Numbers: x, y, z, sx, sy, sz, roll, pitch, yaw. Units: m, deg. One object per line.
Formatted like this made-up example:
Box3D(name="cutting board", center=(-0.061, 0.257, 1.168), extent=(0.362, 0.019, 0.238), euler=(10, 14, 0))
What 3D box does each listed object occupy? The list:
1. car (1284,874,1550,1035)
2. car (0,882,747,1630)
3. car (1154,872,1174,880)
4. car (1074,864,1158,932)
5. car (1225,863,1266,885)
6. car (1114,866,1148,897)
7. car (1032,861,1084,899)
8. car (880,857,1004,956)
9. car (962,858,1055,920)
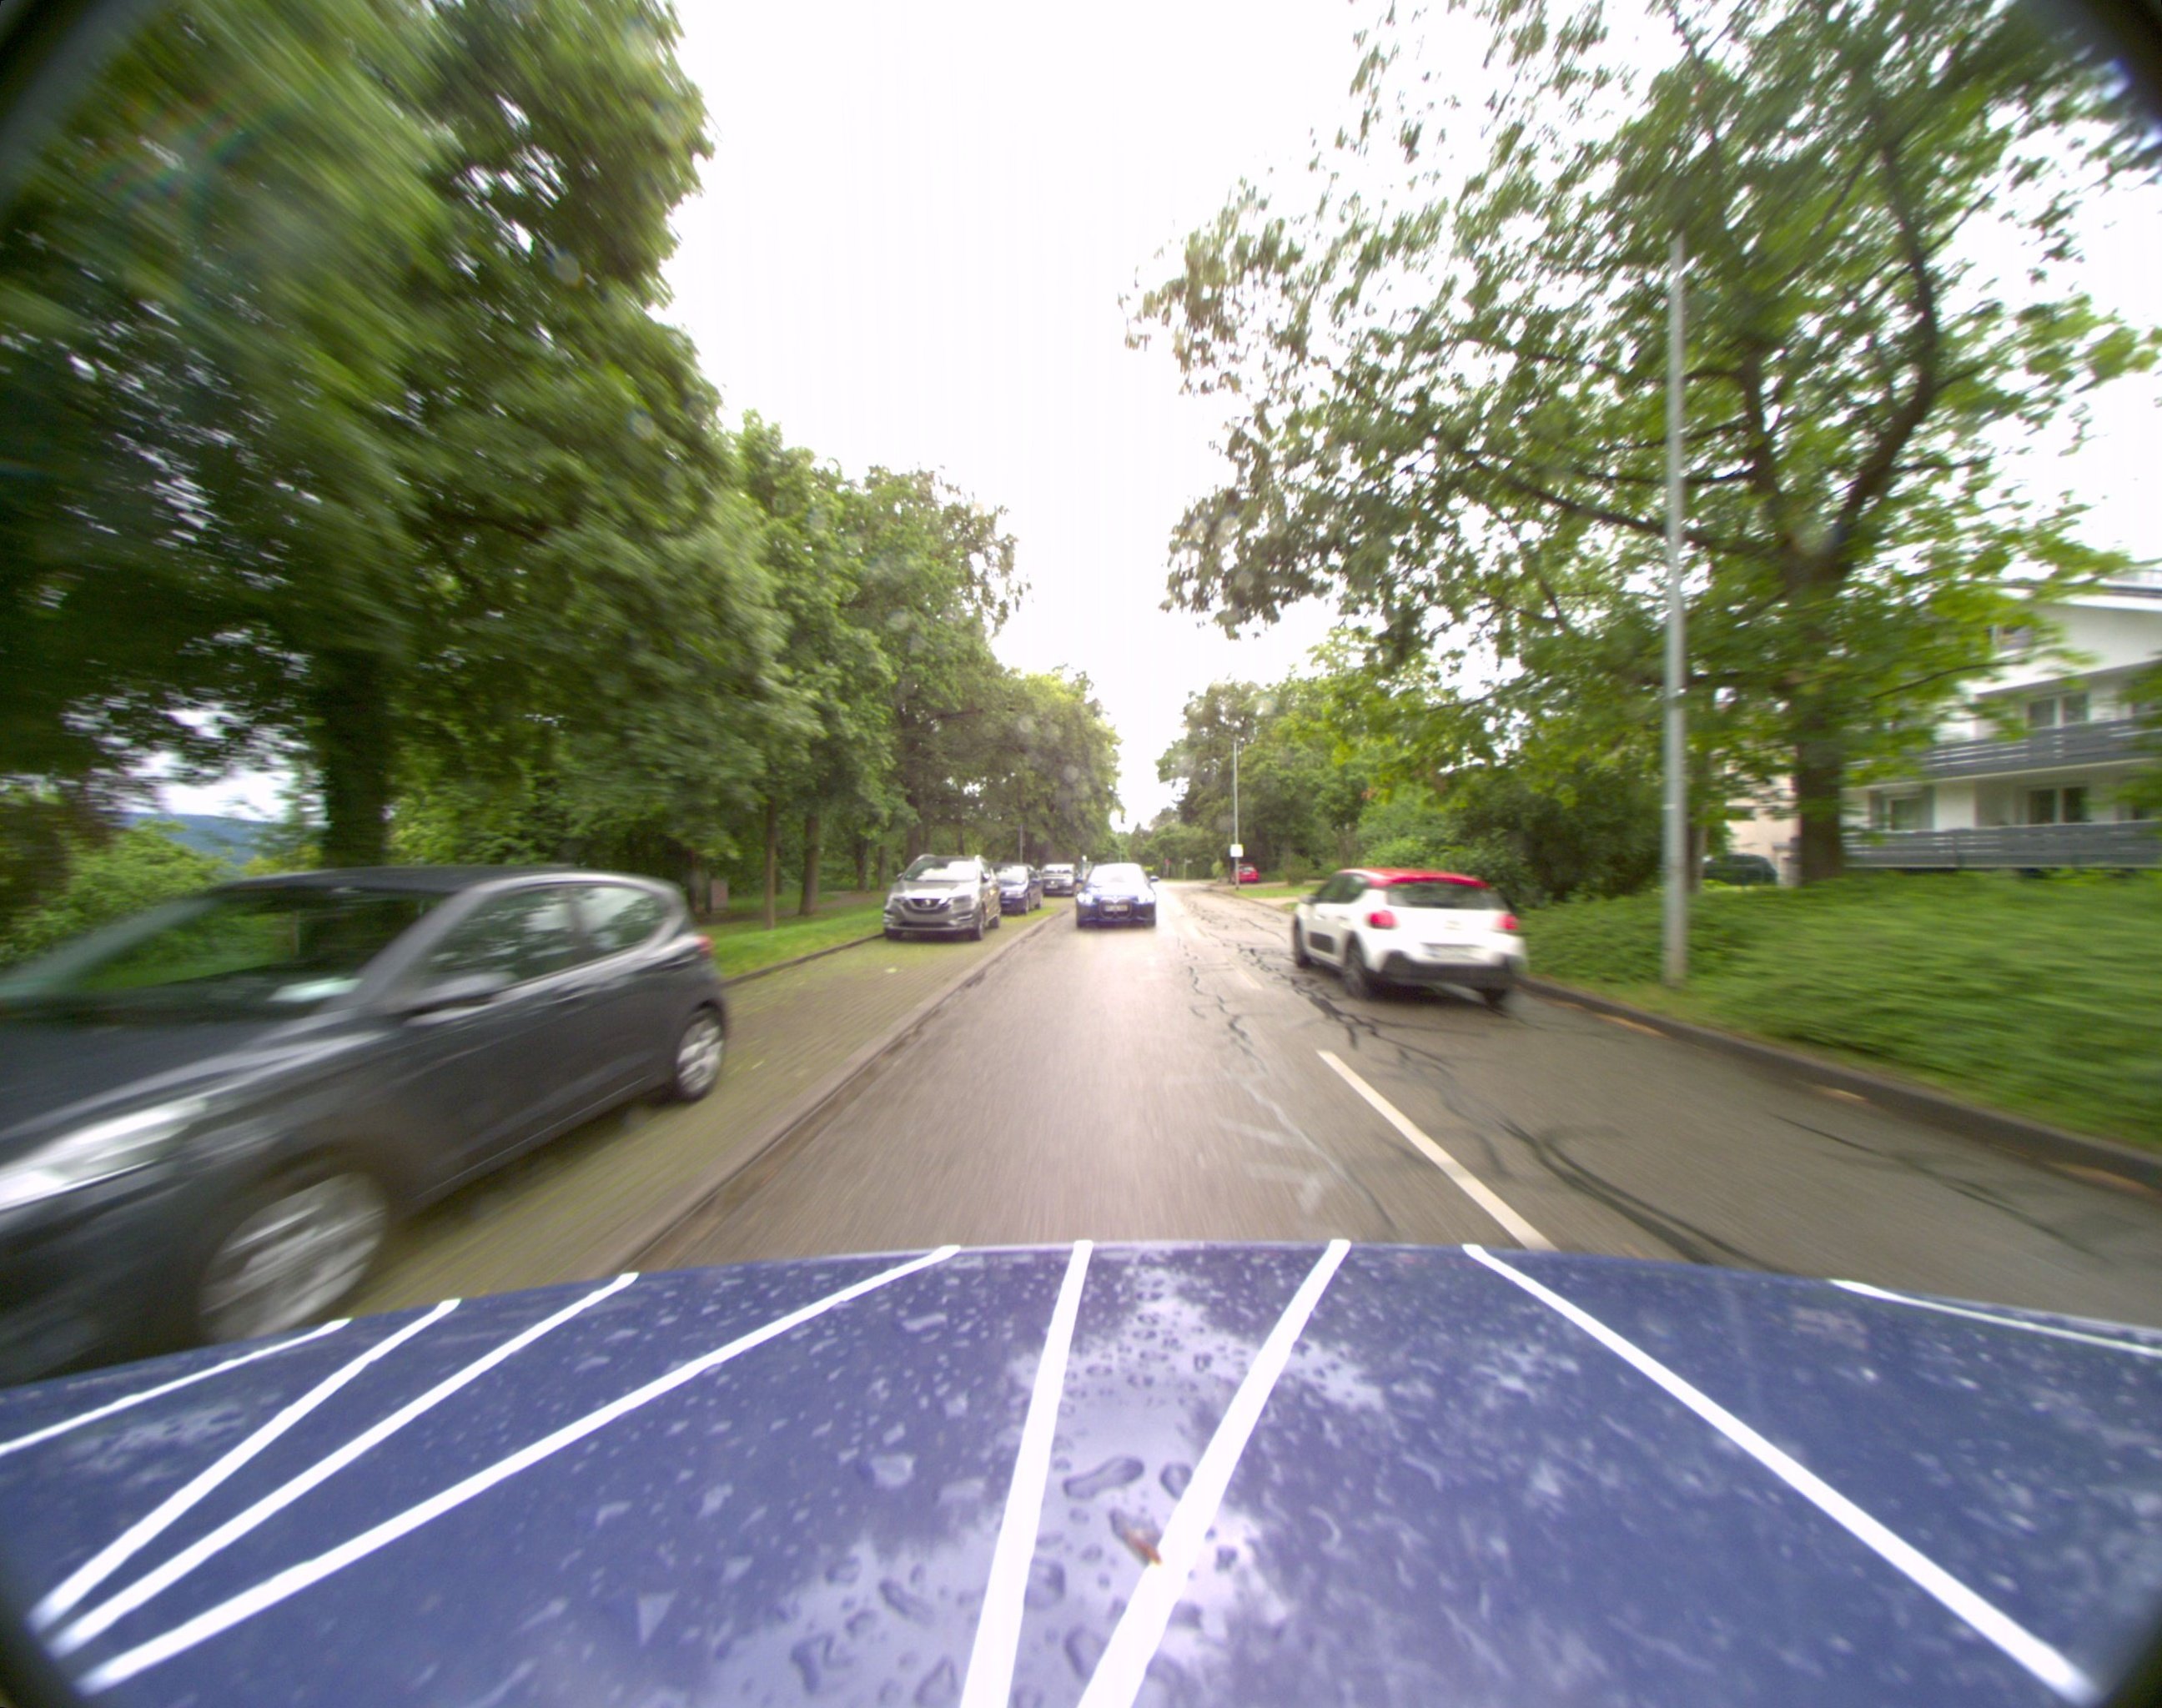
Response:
Box3D(name="car", center=(3.841, 1.051, 9.444), extent=(1.670, 1.468, 3.732), euler=(3, 0, 1))
Box3D(name="car", center=(-3.239, 0.927, 3.335), extent=(1.870, 1.502, 3.725), euler=(1, -1, 0))
Box3D(name="car", center=(16.820, 4.497, 154.557), extent=(3.862, 1.576, 1.818), euler=(0, -2, -4))
Box3D(name="car", center=(0.886, 1.035, 18.740), extent=(1.839, 1.501, 4.002), euler=(0, -2, 3))
Box3D(name="car", center=(12.304, 1.489, 57.078), extent=(1.999, 1.507, 3.999), euler=(2, 0, -2))
Box3D(name="car", center=(3.364, 1.889, 52.125), extent=(1.999, 2.001, 4.001), euler=(0, -2, -1))
Box3D(name="car", center=(-0.914, 1.079, 32.626), extent=(1.704, 1.453, 4.219), euler=(2, -1, 5))
Box3D(name="car", center=(-2.648, 1.063, 15.440), extent=(1.786, 1.708, 4.263), euler=(1, -4, -1))
Box3D(name="car", center=(-1.982, 0.941, 21.898), extent=(1.746, 1.444, 4.003), euler=(6, 0, 6))
